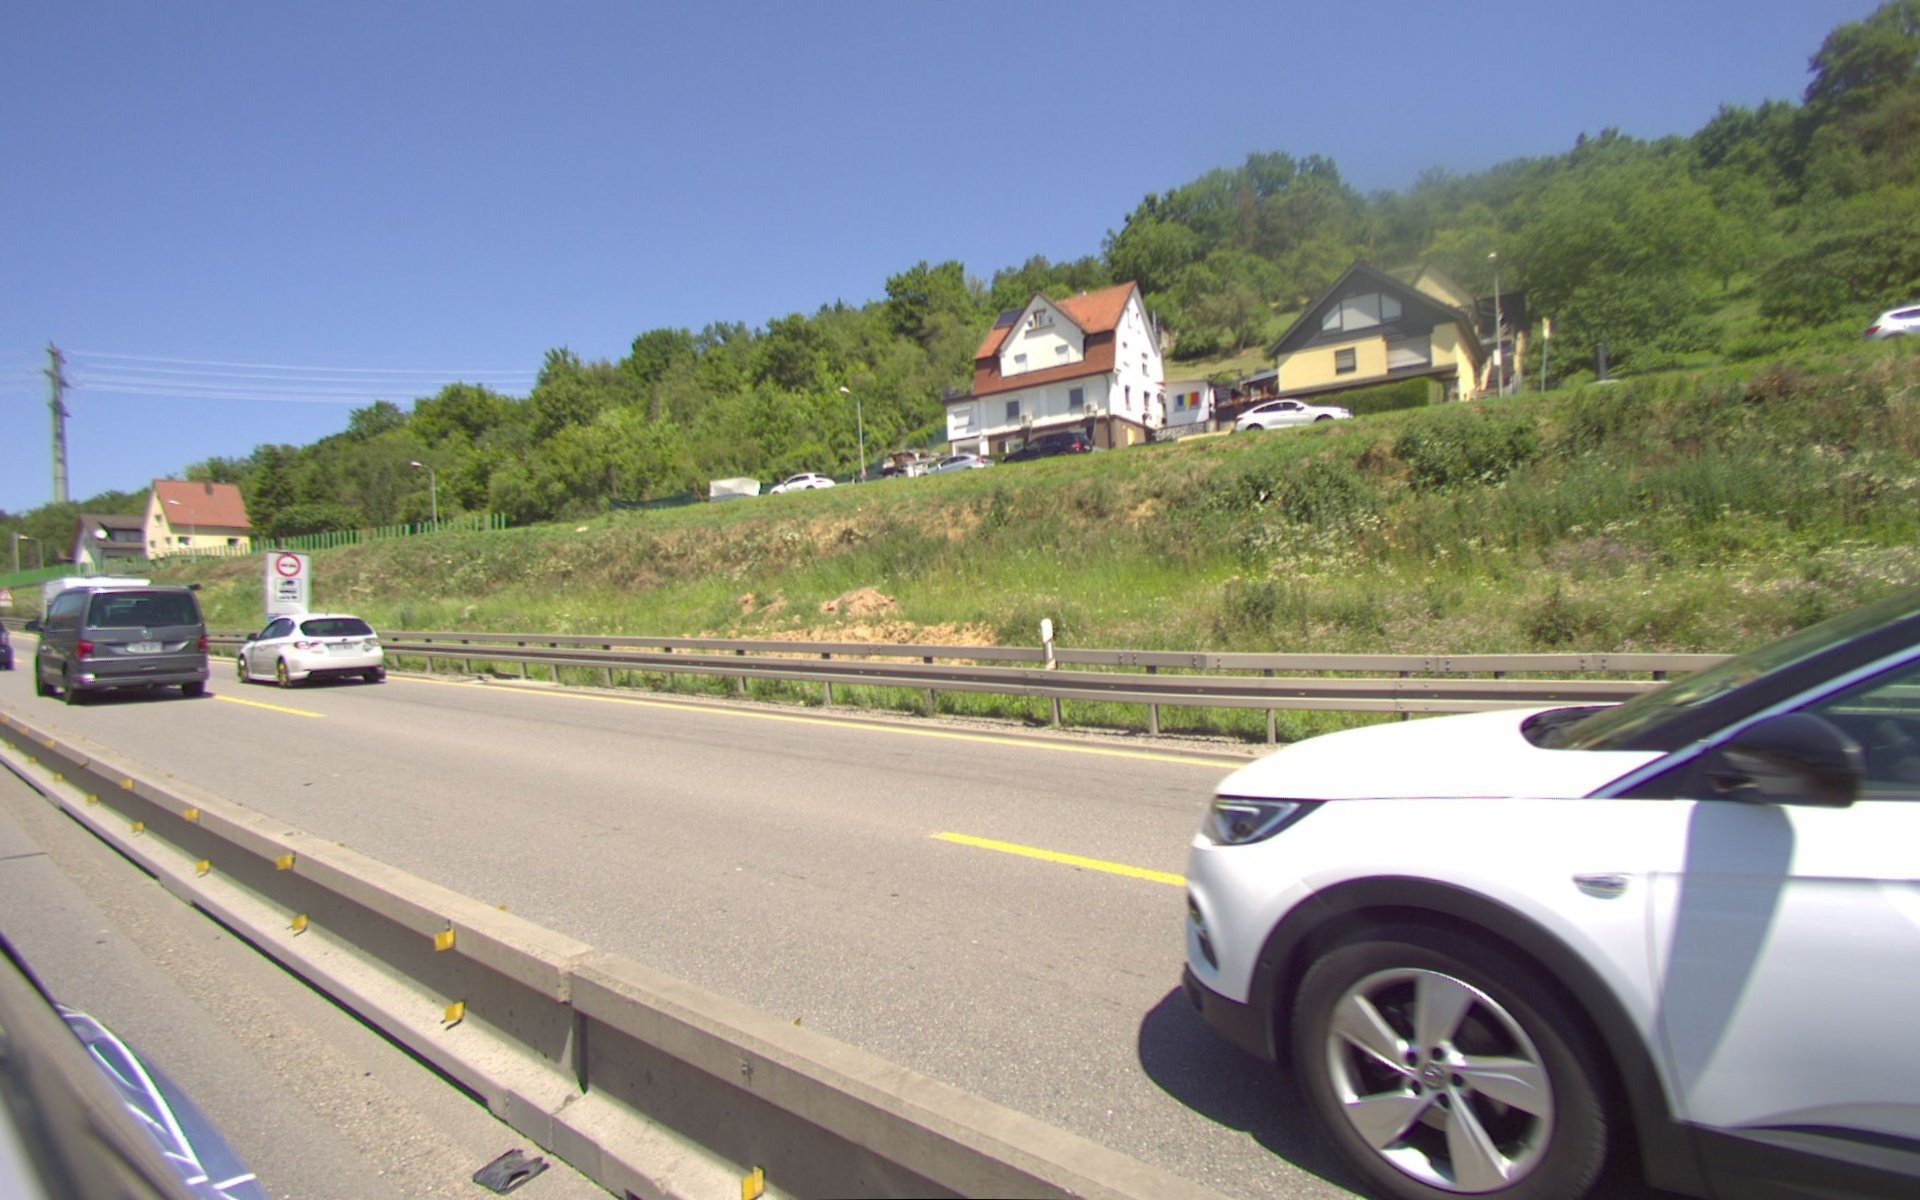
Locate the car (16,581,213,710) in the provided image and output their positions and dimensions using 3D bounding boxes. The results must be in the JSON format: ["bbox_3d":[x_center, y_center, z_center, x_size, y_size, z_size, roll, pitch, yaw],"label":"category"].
[{"bbox_3d":[-15.324,0.742,18.234,4.902,2.029,1.891,-1,0,40],"label":"car"}]

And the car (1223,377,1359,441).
[{"bbox_3d":[13.592,-7.785,41.661,4.999,1.807,1.977,0,0,35],"label":"car"}]

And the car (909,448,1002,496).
[{"bbox_3d":[-0.242,-6.448,51.364,4.421,1.886,1.976,0,0,36],"label":"car"}]

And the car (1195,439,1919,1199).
[{"bbox_3d":[2.779,0.535,1.969,4.169,1.652,1.788,-1,-1,40],"label":"car"}]

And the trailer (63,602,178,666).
[{"bbox_3d":[-27.296,1.052,32.837,5.138,1.908,2.080,-1,0,41],"label":"trailer"}]

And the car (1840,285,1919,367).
[{"bbox_3d":[28.640,-8.185,29.734,3.990,1.807,1.977,0,0,35],"label":"car"}]

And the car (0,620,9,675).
[{"bbox_3d":[-27.899,1.335,28.422,2.804,1.516,1.468,-1,-1,41],"label":"car"}]

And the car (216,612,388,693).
[{"bbox_3d":[-13.645,1.012,20.867,4.553,1.442,1.791,-1,0,41],"label":"car"}]

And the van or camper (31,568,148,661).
[{"bbox_3d":[-31.712,0.535,36.769,6.920,3.089,2.267,-1,0,41],"label":"van or camper"}]

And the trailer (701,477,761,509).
[{"bbox_3d":[-13.522,-6.303,59.877,3.026,1.527,1.888,0,0,30],"label":"trailer"}]

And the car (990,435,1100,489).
[{"bbox_3d":[4.053,-6.564,48.564,4.963,2.023,2.052,0,0,36],"label":"car"}]

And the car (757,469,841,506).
[{"bbox_3d":[-9.108,-6.290,57.067,4.537,1.668,1.979,0,0,32],"label":"car"}]
